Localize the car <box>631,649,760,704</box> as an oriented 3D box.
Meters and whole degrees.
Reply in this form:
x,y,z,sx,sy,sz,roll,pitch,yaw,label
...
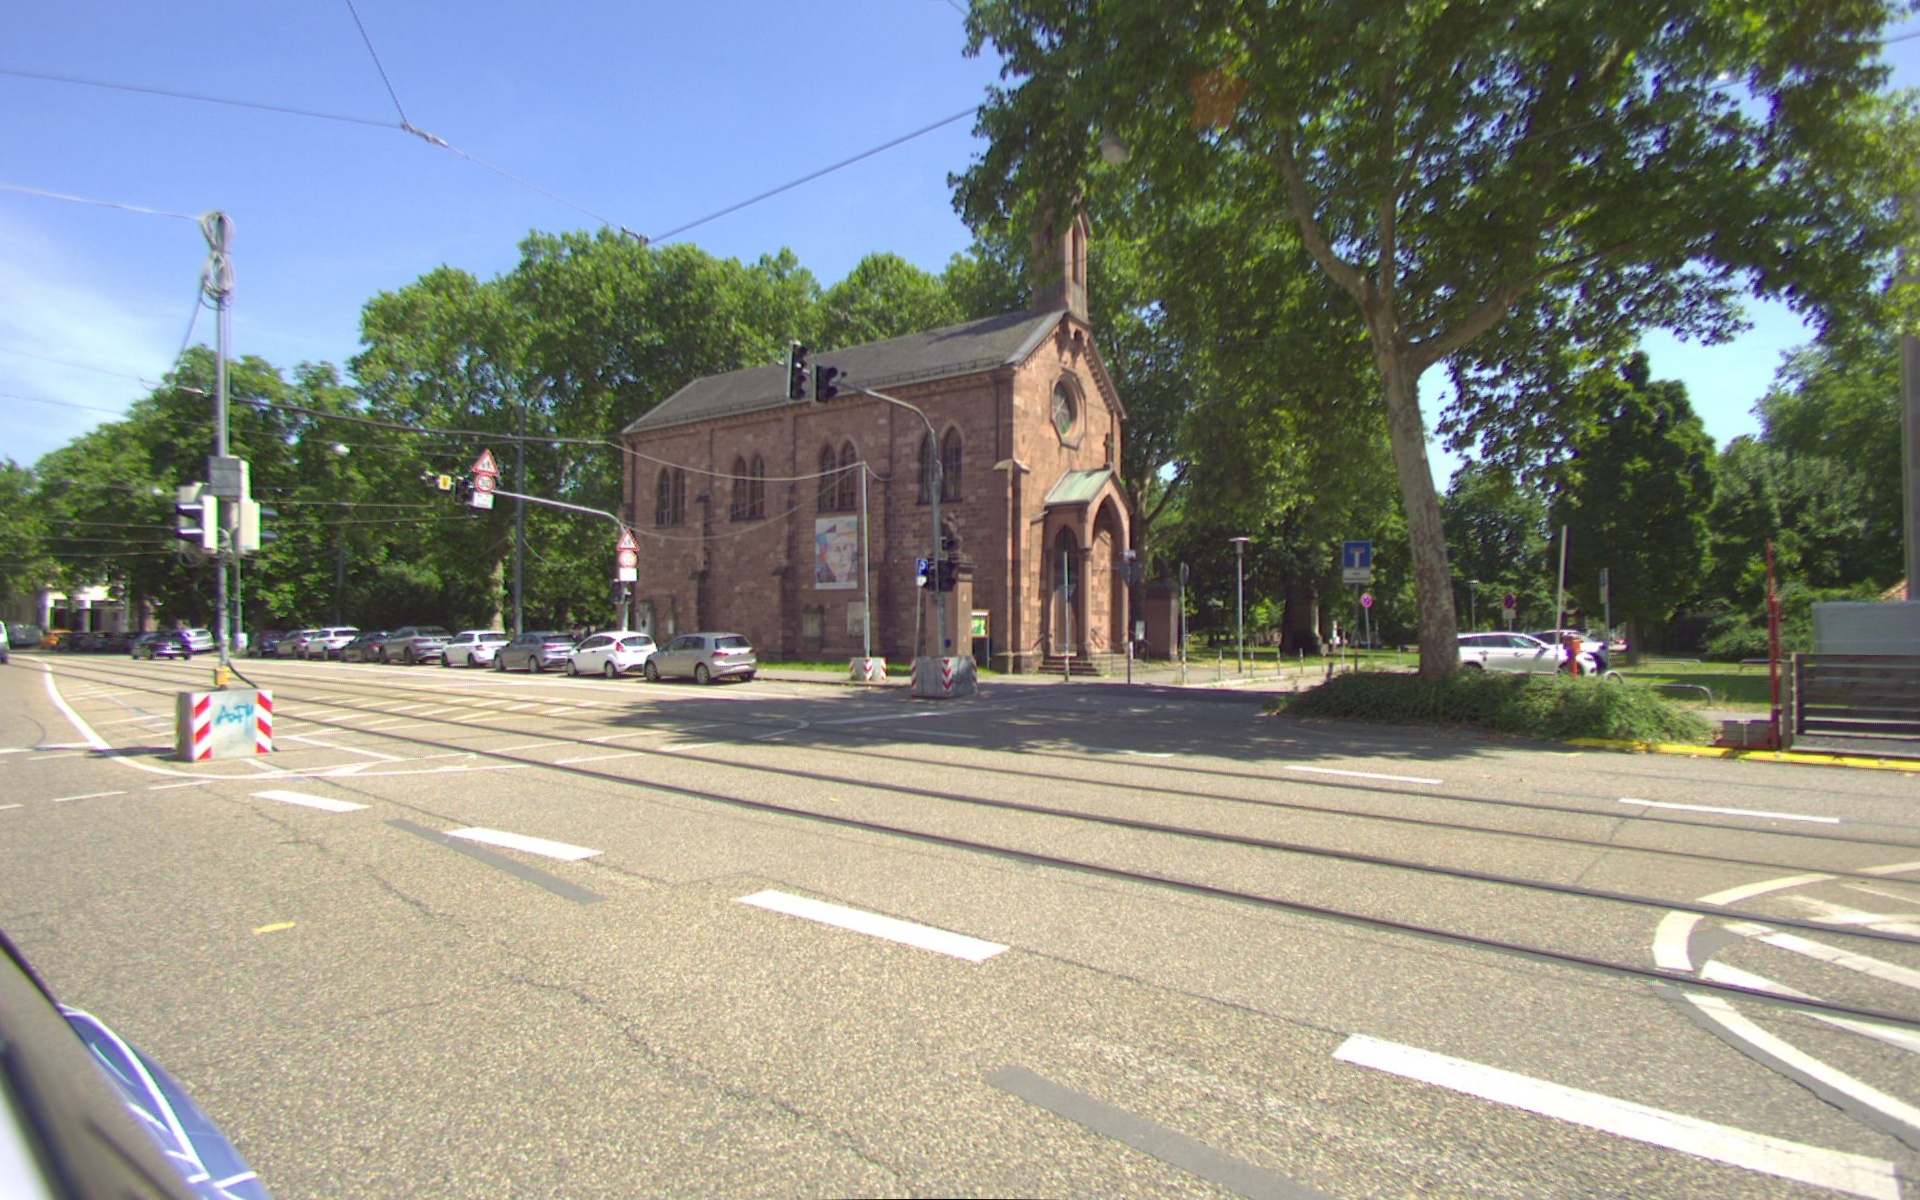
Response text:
x,y,z,sx,sy,sz,roll,pitch,yaw,label
-7.940,2.229,30.191,4.219,1.470,1.641,-3,-2,41,car

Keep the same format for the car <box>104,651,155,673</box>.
x,y,z,sx,sy,sz,roll,pitch,yaw,label
-58.028,4.316,70.684,3.992,1.475,1.788,-2,-2,36,car

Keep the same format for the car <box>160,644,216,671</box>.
x,y,z,sx,sy,sz,roll,pitch,yaw,label
-49.283,3.660,64.584,3.994,1.575,1.953,-2,-2,38,car

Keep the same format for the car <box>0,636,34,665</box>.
x,y,z,sx,sy,sz,roll,pitch,yaw,label
-79.662,4.264,85.315,3.757,2.314,1.799,-2,-2,39,car

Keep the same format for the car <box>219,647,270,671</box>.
x,y,z,sx,sy,sz,roll,pitch,yaw,label
-43.437,3.550,61.420,3.762,1.390,1.629,-2,-2,40,car

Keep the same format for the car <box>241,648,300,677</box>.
x,y,z,sx,sy,sz,roll,pitch,yaw,label
-39.231,3.534,57.514,4.184,1.509,1.725,-2,-2,40,car

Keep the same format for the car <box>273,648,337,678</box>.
x,y,z,sx,sy,sz,roll,pitch,yaw,label
-34.911,3.329,53.937,4.184,1.509,1.725,-2,-2,40,car

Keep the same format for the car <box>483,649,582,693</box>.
x,y,z,sx,sy,sz,roll,pitch,yaw,label
-15.507,2.518,36.618,4.055,1.470,1.641,-2,-2,40,car

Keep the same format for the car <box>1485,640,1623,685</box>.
x,y,z,sx,sy,sz,roll,pitch,yaw,label
19.881,2.097,34.034,3.554,1.387,1.716,-1,-2,10,car

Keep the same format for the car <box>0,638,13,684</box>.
x,y,z,sx,sy,sz,roll,pitch,yaw,label
-43.652,2.702,44.817,4.854,1.953,2.137,-3,-2,43,car

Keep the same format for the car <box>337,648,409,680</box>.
x,y,z,sx,sy,sz,roll,pitch,yaw,label
-27.375,2.955,47.159,3.997,1.386,1.650,-2,-2,40,car

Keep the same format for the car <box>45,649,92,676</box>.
x,y,z,sx,sy,sz,roll,pitch,yaw,label
-68.742,4.788,78.023,3.993,2.029,1.975,-2,-2,37,car

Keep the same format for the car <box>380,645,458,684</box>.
x,y,z,sx,sy,sz,roll,pitch,yaw,label
-23.294,2.737,43.519,3.750,1.535,1.725,-2,-2,40,car

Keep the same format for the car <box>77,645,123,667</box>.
x,y,z,sx,sy,sz,roll,pitch,yaw,label
-63.101,4.108,74.251,3.811,1.526,1.726,-2,-2,37,car

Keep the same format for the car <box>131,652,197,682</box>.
x,y,z,sx,sy,sz,roll,pitch,yaw,label
-40.964,3.415,52.061,4.341,1.405,1.729,-2,-2,38,car

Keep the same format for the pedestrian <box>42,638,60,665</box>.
x,y,z,sx,sy,sz,roll,pitch,yaw,label
-70.737,3.991,78.742,0.760,2.029,0.940,-3,-2,43,pedestrian

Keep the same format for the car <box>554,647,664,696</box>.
x,y,z,sx,sy,sz,roll,pitch,yaw,label
-11.630,2.313,33.399,4.057,1.470,1.641,-3,-2,41,car

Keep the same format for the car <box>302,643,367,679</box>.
x,y,z,sx,sy,sz,roll,pitch,yaw,label
-31.193,3.022,50.435,3.904,1.665,1.724,-3,-2,42,car

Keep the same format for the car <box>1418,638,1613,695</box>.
x,y,z,sx,sy,sz,roll,pitch,yaw,label
15.910,1.899,29.214,4.480,1.520,1.911,-1,-2,7,car

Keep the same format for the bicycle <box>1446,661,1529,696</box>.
x,y,z,sx,sy,sz,roll,pitch,yaw,label
14.129,2.102,27.159,1.894,0.907,0.640,-2,-2,21,bicycle

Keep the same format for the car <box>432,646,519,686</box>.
x,y,z,sx,sy,sz,roll,pitch,yaw,label
-19.360,2.598,40.390,3.750,1.470,1.725,-2,-2,40,car
